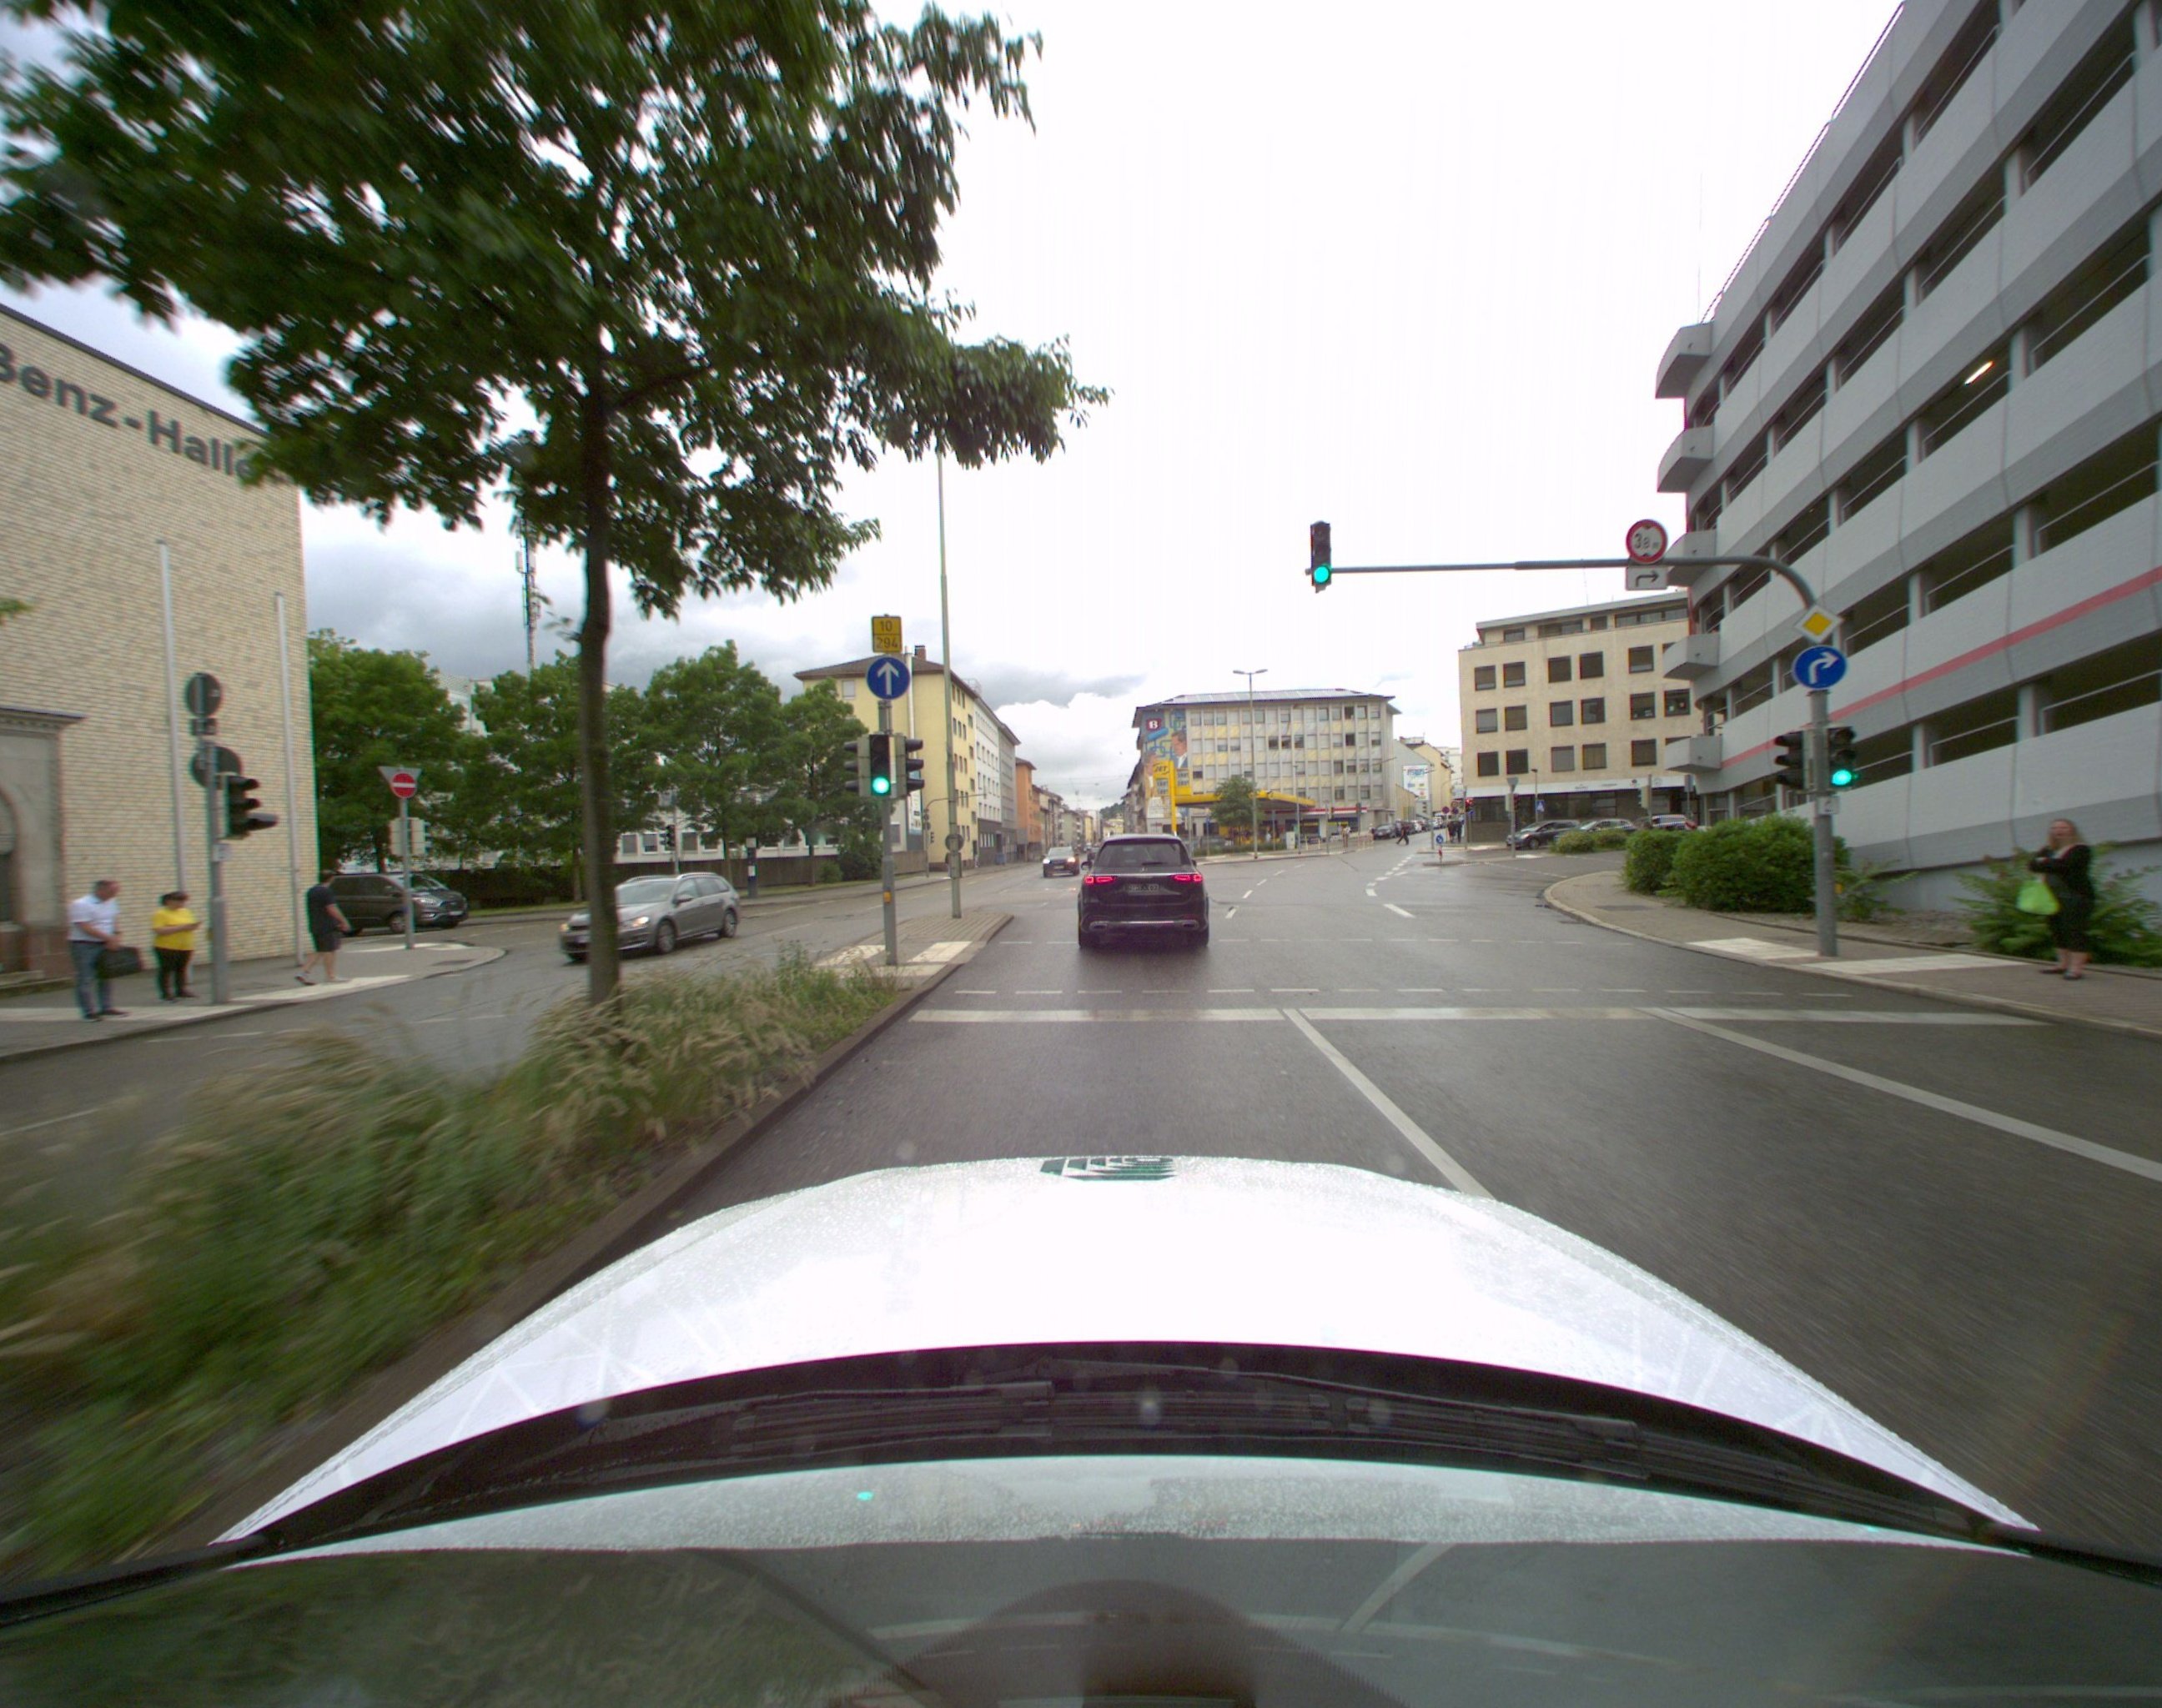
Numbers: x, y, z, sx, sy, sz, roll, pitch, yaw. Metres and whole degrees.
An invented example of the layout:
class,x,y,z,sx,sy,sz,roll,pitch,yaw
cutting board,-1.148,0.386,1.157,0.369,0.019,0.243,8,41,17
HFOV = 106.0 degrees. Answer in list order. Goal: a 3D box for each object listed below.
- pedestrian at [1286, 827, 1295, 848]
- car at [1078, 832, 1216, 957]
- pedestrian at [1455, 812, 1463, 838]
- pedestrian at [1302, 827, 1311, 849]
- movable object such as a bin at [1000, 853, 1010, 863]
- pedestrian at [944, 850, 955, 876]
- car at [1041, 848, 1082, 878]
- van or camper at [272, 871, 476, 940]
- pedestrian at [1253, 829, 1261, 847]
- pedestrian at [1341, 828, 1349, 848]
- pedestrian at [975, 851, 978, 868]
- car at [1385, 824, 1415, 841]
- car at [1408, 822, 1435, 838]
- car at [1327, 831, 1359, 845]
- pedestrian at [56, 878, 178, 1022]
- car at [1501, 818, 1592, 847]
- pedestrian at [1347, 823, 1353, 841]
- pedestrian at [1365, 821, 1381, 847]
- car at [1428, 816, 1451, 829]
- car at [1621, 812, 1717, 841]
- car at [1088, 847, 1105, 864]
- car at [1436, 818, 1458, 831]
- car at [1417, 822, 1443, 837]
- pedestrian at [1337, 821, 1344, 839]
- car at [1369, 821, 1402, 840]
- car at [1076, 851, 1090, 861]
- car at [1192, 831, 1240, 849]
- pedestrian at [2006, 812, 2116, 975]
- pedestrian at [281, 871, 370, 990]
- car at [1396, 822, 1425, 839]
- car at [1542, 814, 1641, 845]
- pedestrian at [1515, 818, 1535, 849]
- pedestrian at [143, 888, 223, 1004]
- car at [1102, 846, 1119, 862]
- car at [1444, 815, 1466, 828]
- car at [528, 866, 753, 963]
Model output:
class,x,y,z,sx,sy,sz,roll,pitch,yaw
pedestrian,16.795,-1.327,65.345,0.521,1.727,0.693,-2,0,29
car,1.041,0.633,13.765,1.986,1.800,4.002,0,-1,2
pedestrian,29.403,-2.262,63.333,0.394,2.014,0.447,0,-2,3
pedestrian,17.698,-1.253,63.926,0.569,1.697,0.631,0,-1,3
movable object such as a bin,-8.032,0.408,85.957,0.906,1.038,0.844,0,-1,3
pedestrian,-9.055,0.634,56.079,0.626,1.727,0.649,-3,0,-8
car,-1.044,0.512,45.416,1.985,1.614,4.192,0,-1,3
van or camper,-22.528,1.602,26.080,4.720,1.931,2.024,-2,0,2
pedestrian,17.192,-1.588,79.503,0.521,1.727,0.693,-2,0,32
pedestrian,18.538,-1.107,57.173,0.394,1.400,0.447,0,-1,3
pedestrian,-9.933,0.492,77.435,0.244,1.624,0.411,0,-2,4
car,33.750,-2.290,86.124,1.974,1.706,4.026,-3,0,36
car,39.797,-2.769,95.117,1.974,1.706,4.026,-3,0,36
car,29.025,-1.757,90.267,1.974,1.398,4.024,-1,-2,41
pedestrian,-11.839,1.150,10.024,0.609,1.656,0.691,-3,0,0
car,26.884,-1.248,47.199,4.159,1.439,1.863,-3,0,8
pedestrian,25.761,-2.123,78.072,0.478,1.641,0.441,-1,-2,31
pedestrian,24.921,-1.694,69.468,0.853,2.128,0.947,-3,0,-4
car,48.468,-4.246,110.144,1.974,1.706,4.026,-3,0,36
car,34.206,-1.561,47.473,4.159,1.439,1.863,-3,0,8
car,1.887,0.232,98.619,1.986,2.014,4.001,0,-1,1
car,51.389,-4.177,114.204,1.974,1.706,4.026,-3,0,36
car,42.736,-2.964,99.599,1.974,1.706,4.026,-3,0,36
pedestrian,25.525,-2.345,80.159,0.521,1.727,0.693,-2,0,29
car,30.654,-2.366,81.962,1.974,1.706,4.026,-3,0,36
car,0.388,0.401,137.664,1.984,1.547,4.195,0,-1,5
car,11.940,-1.253,72.421,1.746,1.376,3.952,-3,0,-41
pedestrian,10.715,0.421,8.925,0.639,1.710,0.474,-2,-2,38
pedestrian,-11.766,1.164,12.710,0.687,1.757,0.716,-2,0,-9
car,36.506,-2.625,90.248,1.974,1.706,4.026,-3,0,36
car,27.870,-1.303,44.552,4.159,1.439,1.863,-3,0,8
pedestrian,28.922,-1.340,53.028,0.875,2.014,0.730,0,-1,3
pedestrian,-12.476,1.258,11.322,0.437,1.534,0.546,-3,0,0
car,2.992,0.023,83.391,1.677,1.596,4.001,0,-1,1
car,55.249,-4.776,120.319,1.974,1.713,4.413,-3,0,36
car,-8.440,1.067,16.167,1.839,1.429,4.437,-4,1,2
